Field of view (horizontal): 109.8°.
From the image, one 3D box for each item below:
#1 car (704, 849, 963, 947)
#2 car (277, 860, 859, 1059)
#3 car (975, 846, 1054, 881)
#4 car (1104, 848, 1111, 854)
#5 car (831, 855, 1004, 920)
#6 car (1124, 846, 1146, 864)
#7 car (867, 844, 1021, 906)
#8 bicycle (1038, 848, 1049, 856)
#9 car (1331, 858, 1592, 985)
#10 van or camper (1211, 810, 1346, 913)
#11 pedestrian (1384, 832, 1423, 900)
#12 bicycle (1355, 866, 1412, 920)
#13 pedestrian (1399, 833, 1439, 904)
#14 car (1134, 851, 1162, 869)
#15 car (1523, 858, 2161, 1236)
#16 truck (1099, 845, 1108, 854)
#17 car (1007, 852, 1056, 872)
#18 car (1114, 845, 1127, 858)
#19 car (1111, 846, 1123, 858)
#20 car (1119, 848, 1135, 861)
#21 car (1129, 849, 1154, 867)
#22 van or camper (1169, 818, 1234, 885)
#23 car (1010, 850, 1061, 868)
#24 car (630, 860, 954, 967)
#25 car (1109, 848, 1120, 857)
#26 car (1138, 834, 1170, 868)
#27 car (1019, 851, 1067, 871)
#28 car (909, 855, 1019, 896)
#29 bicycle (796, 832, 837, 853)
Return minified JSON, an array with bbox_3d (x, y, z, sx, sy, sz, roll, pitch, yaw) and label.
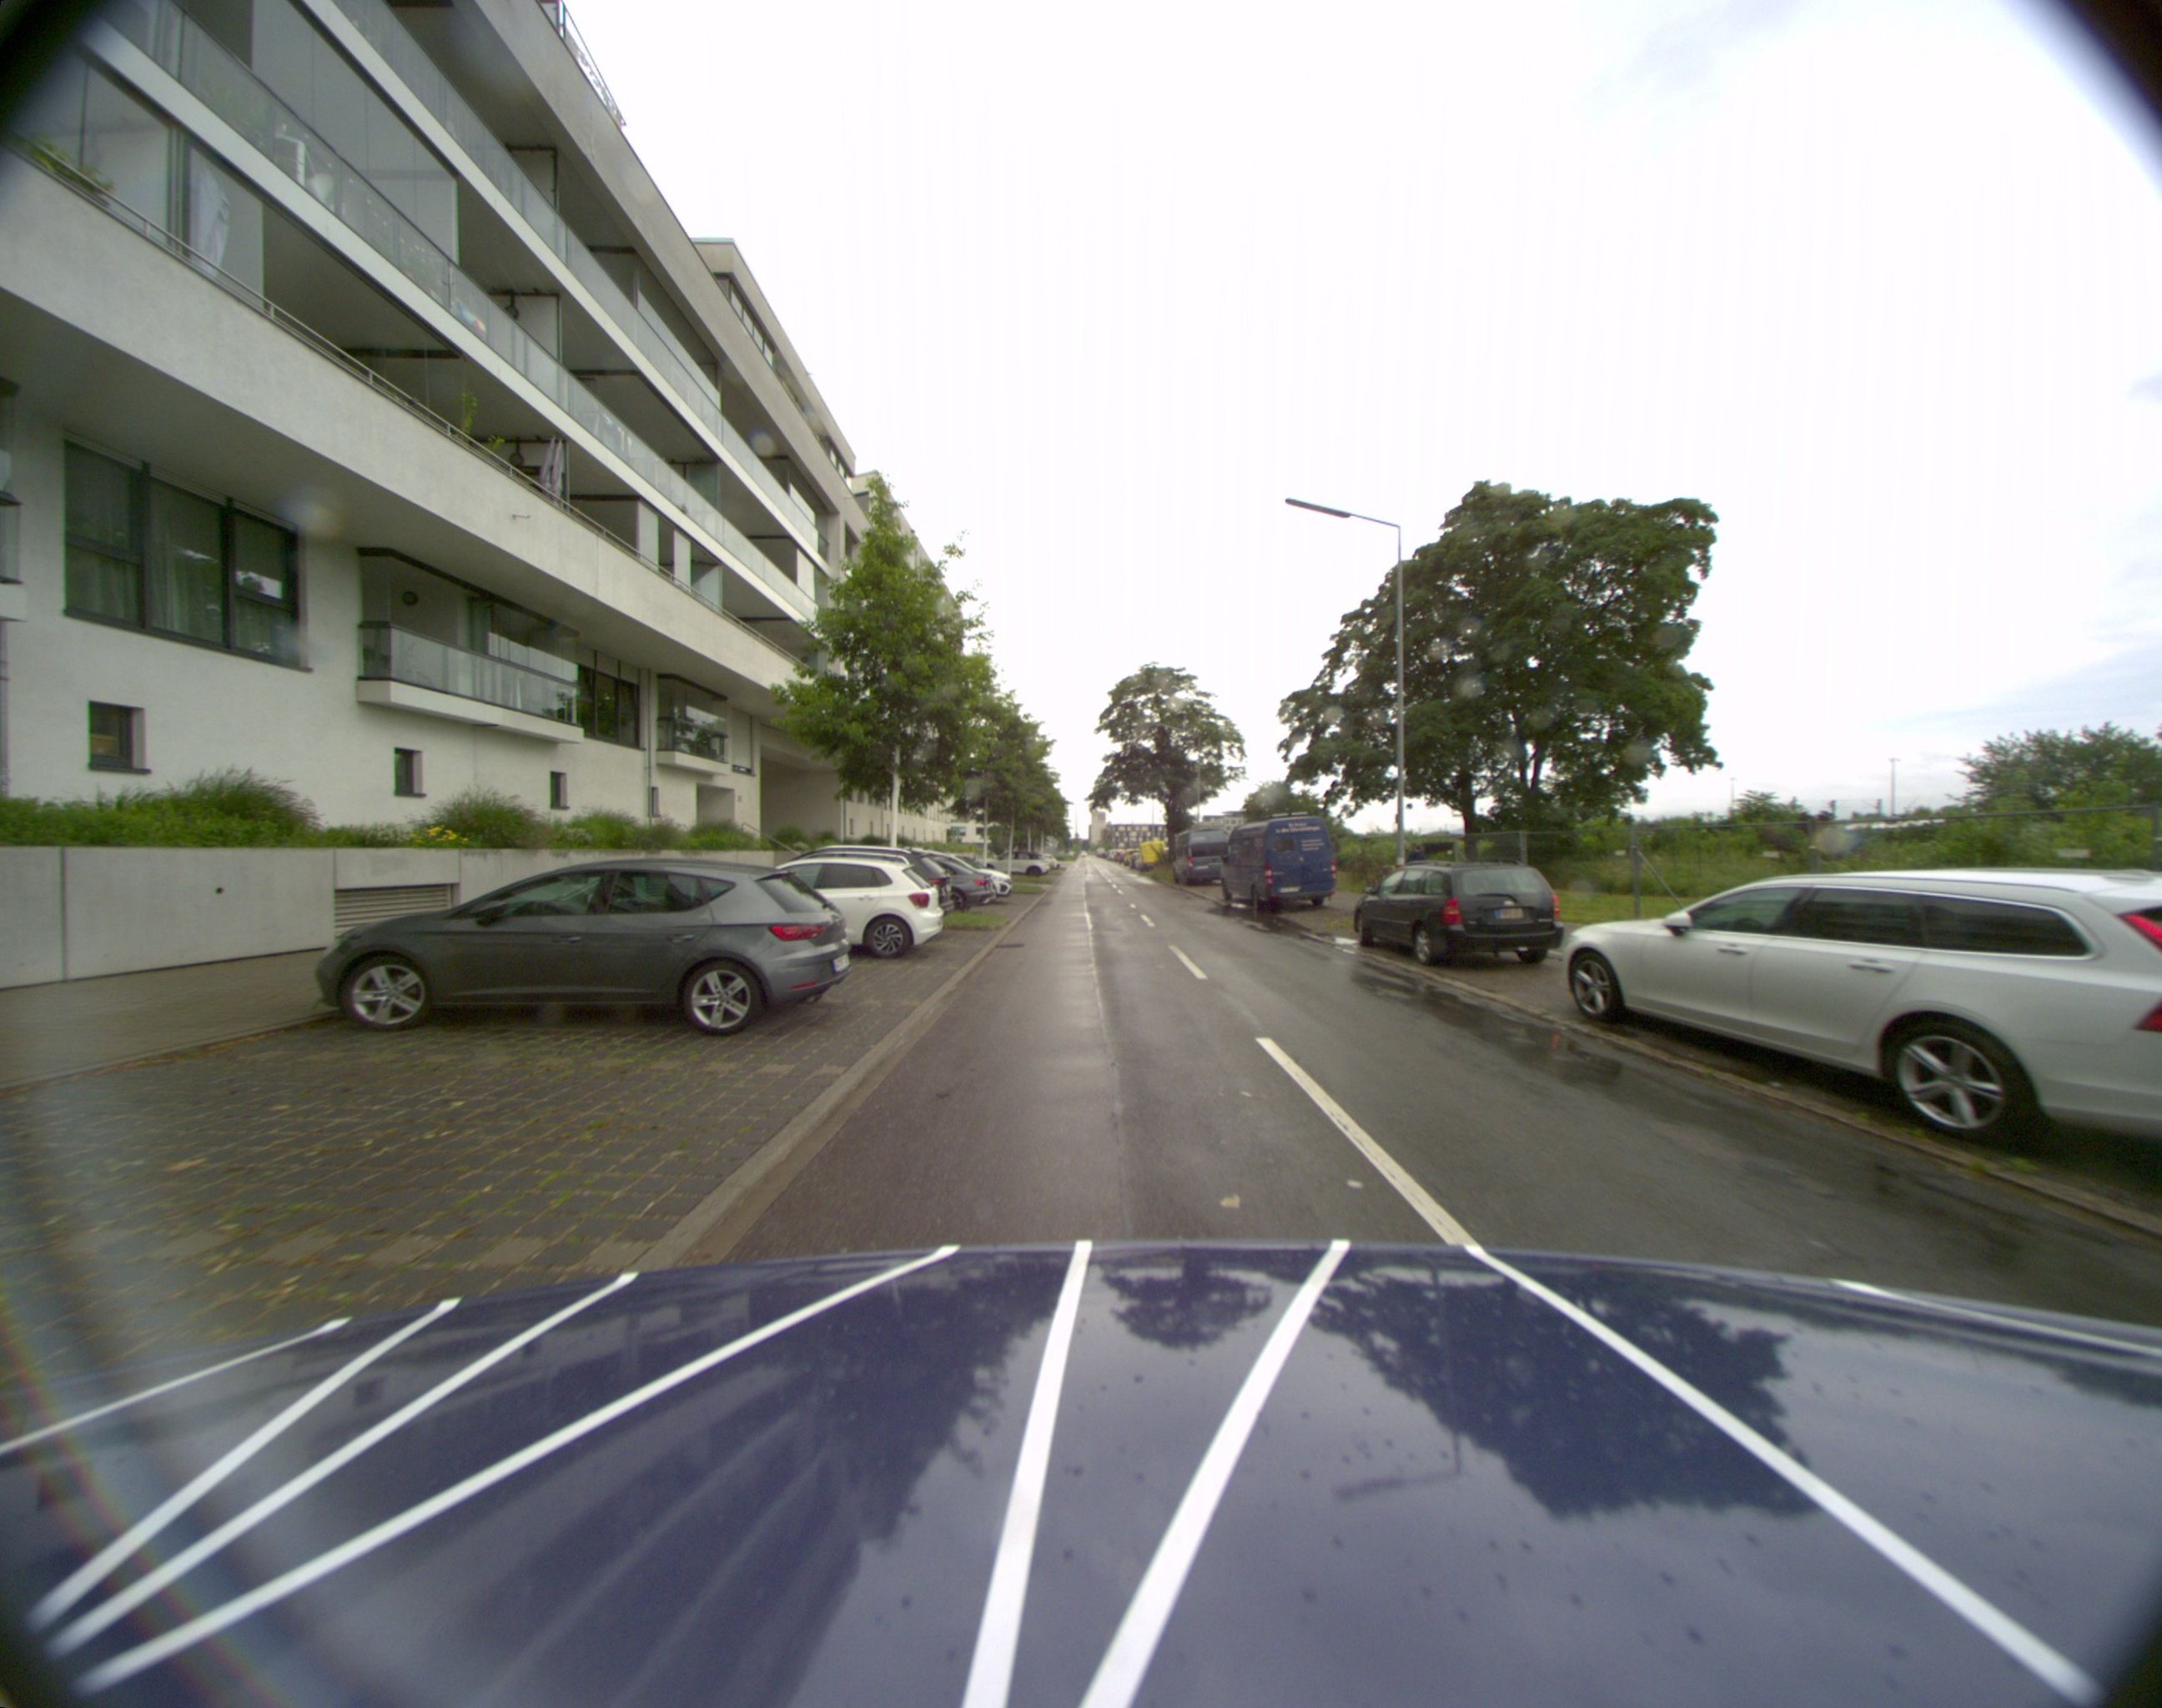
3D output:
[{"bbox_3d":[-4.426,0.758,14.112,4.173,1.615,1.897,1,1,-2],"label":"car"},{"bbox_3d":[-4.242,0.856,6.796,4.041,1.490,1.631,1,1,-3],"label":"car"},{"bbox_3d":[-3.971,0.554,45.812,4.552,1.676,1.885,4,1,-2],"label":"car"},{"bbox_3d":[7.090,-0.773,200.078,1.756,1.683,4.881,-1,0,3],"label":"car"},{"bbox_3d":[-4.065,0.818,19.297,3.997,1.501,1.684,1,0,0],"label":"car"},{"bbox_3d":[6.234,0.119,88.048,2.022,1.945,6.064,-2,1,0],"label":"car"},{"bbox_3d":[-4.243,0.647,24.099,4.488,1.677,1.935,3,0,-1],"label":"car"},{"bbox_3d":[-7.808,-0.394,159.168,2.189,1.514,0.631,1,1,21],"label":"bicycle"},{"bbox_3d":[5.695,0.879,12.199,1.778,1.494,4.827,-3,1,1],"label":"car"},{"bbox_3d":[6.010,0.135,24.396,2.100,2.700,7.571,-3,1,-1],"label":"van or camper"},{"bbox_3d":[9.790,0.365,23.091,0.739,2.002,0.900,-2,1,0],"label":"pedestrian"},{"bbox_3d":[7.220,0.898,18.264,0.696,1.143,2.683,-2,0,10],"label":"bicycle"},{"bbox_3d":[9.786,0.405,21.994,0.721,2.002,0.853,-2,1,0],"label":"pedestrian"},{"bbox_3d":[6.153,0.513,70.421,2.015,1.426,5.338,-3,1,0],"label":"car"},{"bbox_3d":[5.701,0.876,5.547,1.892,1.517,5.108,-3,1,0],"label":"car"},{"bbox_3d":[7.226,-1.454,244.640,2.442,3.050,6.699,-2,0,0],"label":"truck"},{"bbox_3d":[-4.093,0.655,63.458,3.967,1.466,1.591,-2,1,-2],"label":"car"},{"bbox_3d":[6.720,-0.395,129.899,1.947,2.223,5.557,-1,0,0],"label":"car"},{"bbox_3d":[6.602,-0.328,140.558,1.964,2.046,5.274,-1,0,1],"label":"car"},{"bbox_3d":[6.107,0.101,100.726,1.808,1.552,4.033,-3,0,1],"label":"car"},{"bbox_3d":[5.980,0.394,75.754,1.999,1.585,5.016,-3,1,-1],"label":"car"},{"bbox_3d":[6.116,-0.176,39.438,2.100,3.077,6.422,-3,1,-1],"label":"van or camper"},{"bbox_3d":[-4.107,0.448,68.696,4.499,1.473,1.692,2,1,0],"label":"car"},{"bbox_3d":[-4.247,0.863,11.652,4.310,1.420,1.636,1,1,-2],"label":"car"},{"bbox_3d":[6.708,-0.283,153.966,1.961,1.890,4.994,-1,0,1],"label":"car"},{"bbox_3d":[6.061,-0.271,64.012,2.197,2.679,6.081,-3,1,2],"label":"car"},{"bbox_3d":[-3.284,0.571,66.088,3.997,1.547,1.635,2,1,1],"label":"car"},{"bbox_3d":[-4.430,0.801,29.289,3.998,1.487,1.936,-1,0,-3],"label":"car"},{"bbox_3d":[-14.101,-0.618,40.477,1.900,1.048,0.723,-2,1,-1],"label":"bicycle"}]
